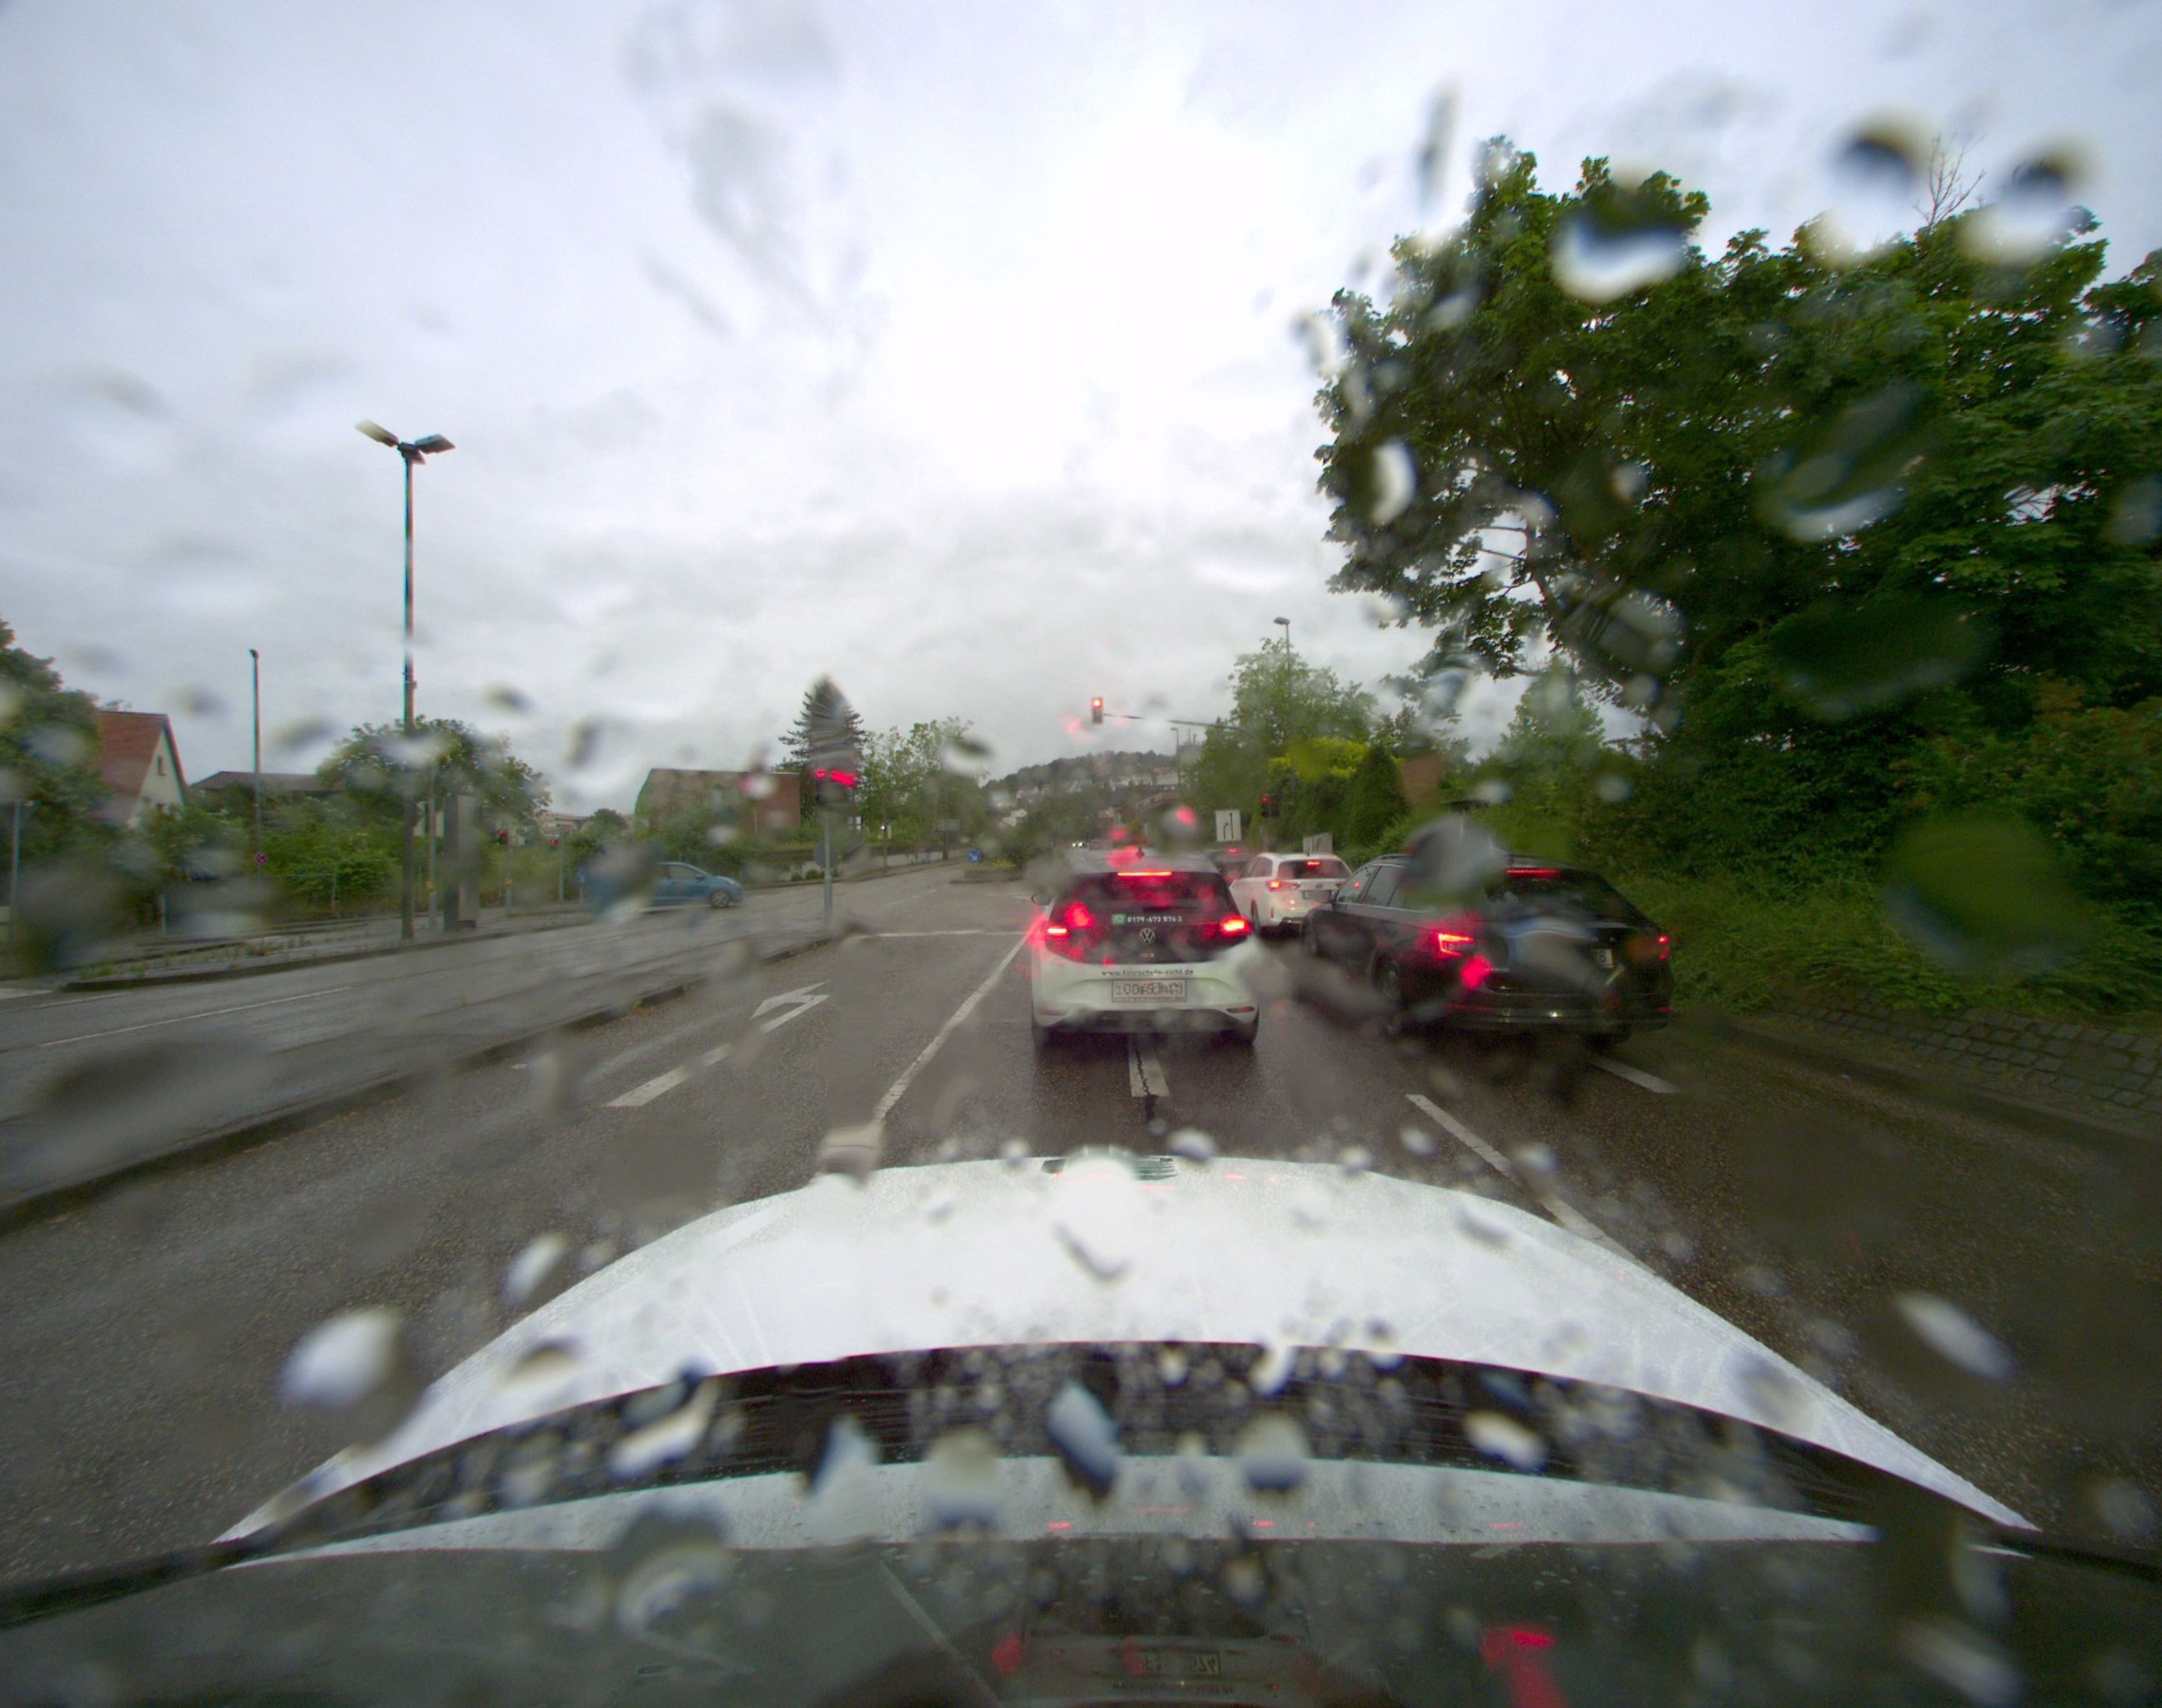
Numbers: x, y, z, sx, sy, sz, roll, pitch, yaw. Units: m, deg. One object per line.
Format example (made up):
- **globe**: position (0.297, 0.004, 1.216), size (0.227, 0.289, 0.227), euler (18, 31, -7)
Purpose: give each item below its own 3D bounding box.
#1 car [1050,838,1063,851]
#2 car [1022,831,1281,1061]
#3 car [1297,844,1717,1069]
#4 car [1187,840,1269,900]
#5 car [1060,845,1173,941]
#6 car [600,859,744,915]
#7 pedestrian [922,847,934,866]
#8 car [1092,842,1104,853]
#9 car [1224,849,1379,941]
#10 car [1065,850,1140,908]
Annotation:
- **car**: position (-4.166, -1.614, 140.411), size (1.986, 2.014, 4.002), euler (-1, -1, 2)
- **car**: position (0.549, 0.630, 8.062), size (1.831, 1.629, 4.617), euler (0, 0, 1)
- **car**: position (3.371, 0.651, 7.534), size (1.830, 1.466, 4.353), euler (0, 0, 3)
- **car**: position (4.101, 0.424, 23.349), size (1.769, 1.581, 4.002), euler (0, 0, 2)
- **car**: position (0.622, 0.609, 15.236), size (1.831, 1.555, 4.176), euler (0, 0, 1)
- **car**: position (-12.419, 0.950, 24.883), size (3.758, 1.418, 1.751), euler (-3, 1, -28)
- **pedestrian**: position (-13.147, 0.186, 70.185), size (0.757, 1.568, 0.825), euler (-4, 0, 1)
- **car**: position (2.568, -0.925, 122.228), size (1.769, 1.581, 4.002), euler (-3, 0, 2)
- **car**: position (3.875, 0.640, 15.032), size (1.831, 1.466, 4.118), euler (0, 0, 1)
- **car**: position (0.576, 0.598, 21.827), size (1.831, 1.400, 3.832), euler (0, 0, 1)
